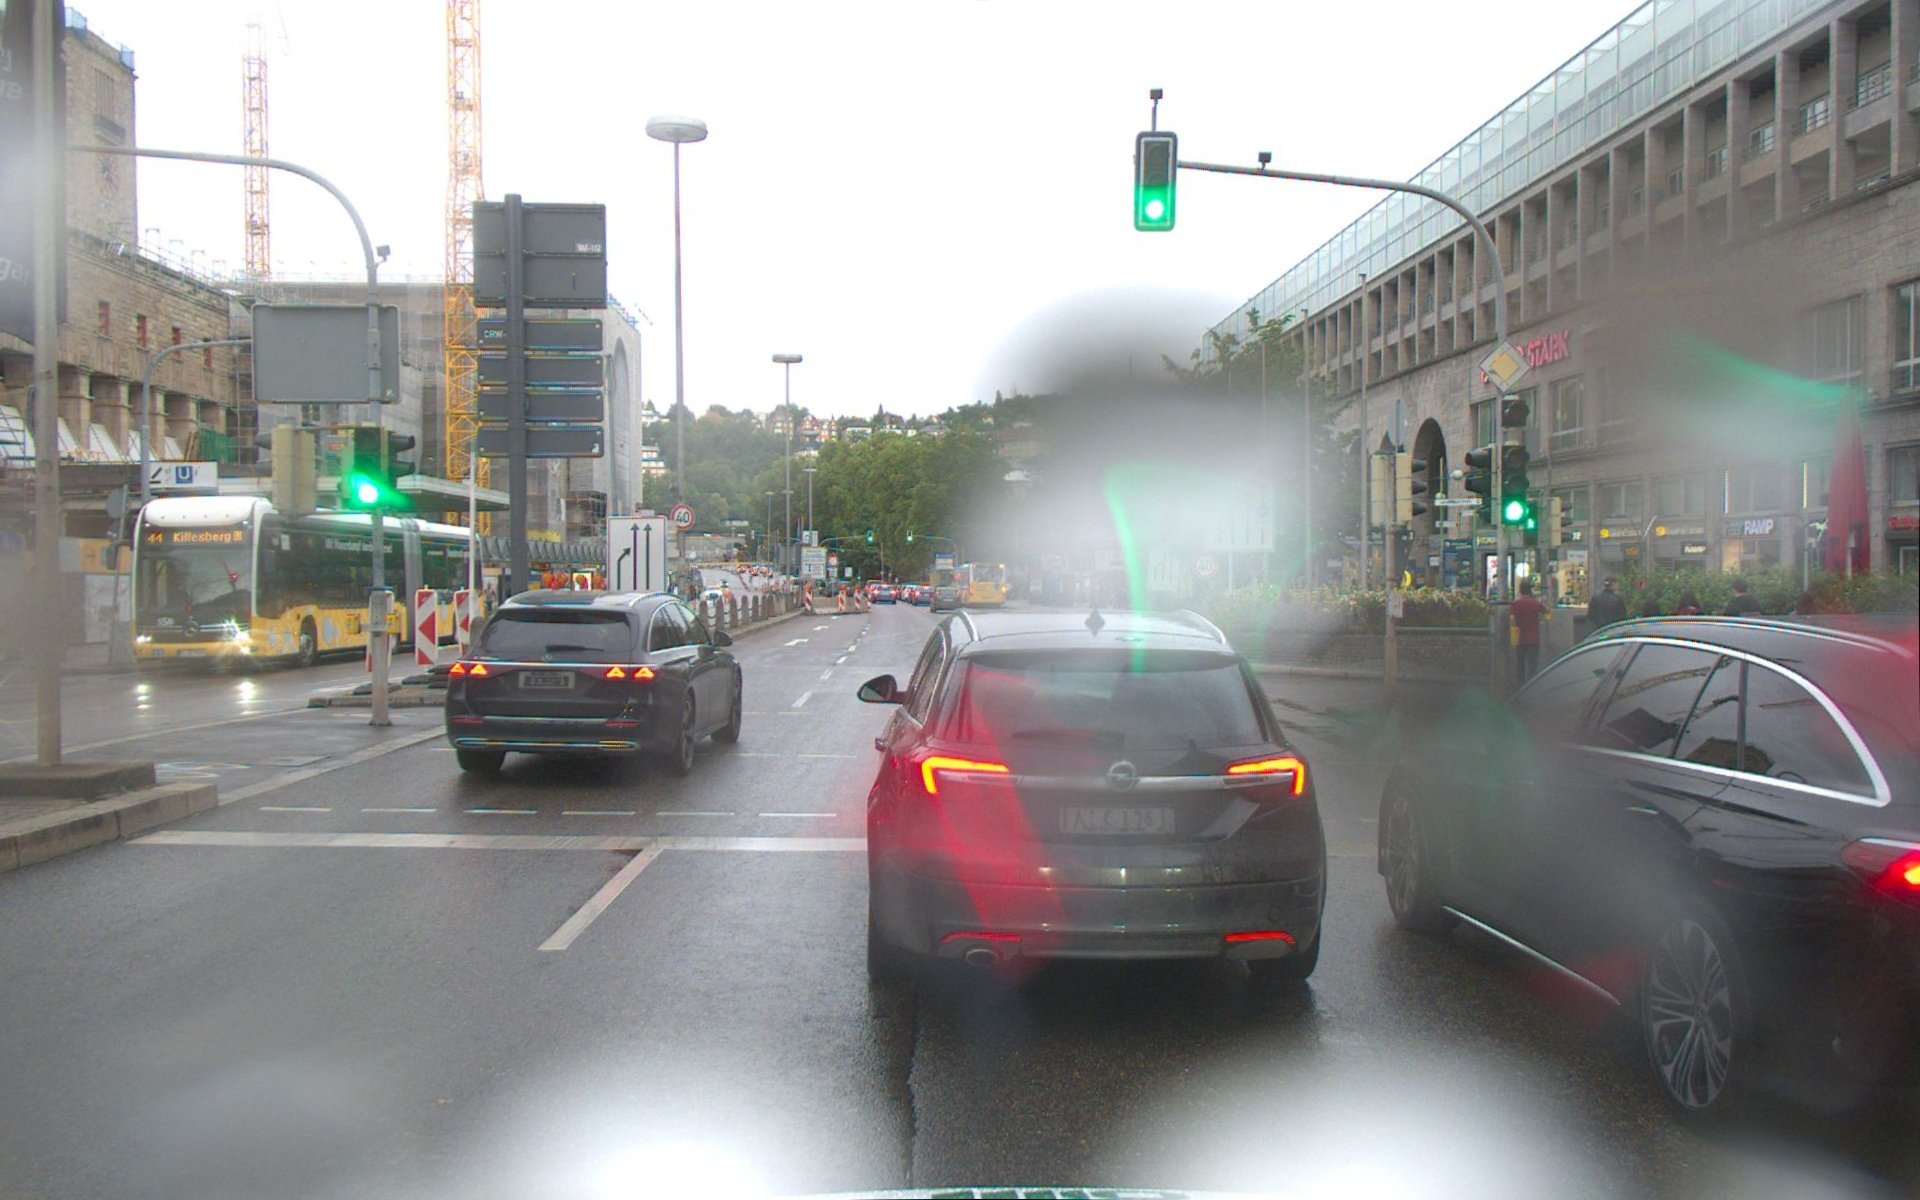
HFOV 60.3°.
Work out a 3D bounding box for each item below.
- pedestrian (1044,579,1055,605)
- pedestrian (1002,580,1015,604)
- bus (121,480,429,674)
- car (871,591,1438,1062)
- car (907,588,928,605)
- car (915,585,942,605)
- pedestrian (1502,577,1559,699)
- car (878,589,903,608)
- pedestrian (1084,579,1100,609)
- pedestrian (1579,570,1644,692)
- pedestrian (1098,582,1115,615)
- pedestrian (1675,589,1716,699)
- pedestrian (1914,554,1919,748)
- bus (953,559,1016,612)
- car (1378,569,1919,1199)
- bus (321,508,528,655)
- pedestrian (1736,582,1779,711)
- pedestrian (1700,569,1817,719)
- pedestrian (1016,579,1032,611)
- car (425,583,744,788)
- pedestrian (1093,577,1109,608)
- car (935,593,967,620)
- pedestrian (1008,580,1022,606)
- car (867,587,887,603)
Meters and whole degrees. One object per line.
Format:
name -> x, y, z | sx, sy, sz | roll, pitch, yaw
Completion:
pedestrian -> 5.902, -0.508, 108.731 | 0.644, 1.720, 0.609 | 1, -1, 0
pedestrian -> 4.494, -0.713, 153.656 | 1.174, 2.186, 1.228 | 1, -1, 0
bus -> -14.712, -0.406, 36.679 | 2.614, 3.665, 10.237 | 1, 0, -1
car -> 0.598, 0.754, 7.409 | 1.837, 1.512, 3.999 | 1, 0, -1
car -> -3.704, -0.336, 144.271 | 1.808, 1.422, 3.563 | 1, 0, -1
car -> -2.333, -0.358, 121.638 | 1.718, 1.422, 4.645 | 1, 0, -3
pedestrian -> 8.491, 0.558, 24.615 | 0.560, 1.783, 0.676 | 0, -1, 42
car -> -5.366, -0.075, 127.509 | 1.808, 1.422, 3.563 | 1, 0, -1
pedestrian -> 7.562, -0.348, 94.789 | 0.748, 1.720, 0.824 | 1, -1, -5
pedestrian -> 9.531, 0.448, 24.200 | 0.740, 1.747, 0.466 | 1, -1, -5
pedestrian -> 7.713, -0.102, 87.270 | 0.748, 1.720, 0.824 | 1, -1, -5
pedestrian -> 10.499, 0.625, 23.607 | 0.456, 1.544, 0.449 | 1, -1, 33
pedestrian -> 9.262, 0.475, 15.198 | 0.766, 1.787, 0.501 | 0, -1, 43
bus -> 1.641, -0.972, 120.098 | 4.089, 3.529, 14.650 | 1, 0, -1
car -> 2.991, 0.723, 5.925 | 1.757, 1.528, 4.627 | 1, 0, -1
bus -> -14.874, -0.439, 46.958 | 2.614, 3.665, 10.209 | 1, 0, -1
pedestrian -> 11.265, 0.651, 23.360 | 0.472, 1.782, 0.665 | -2, 0, 27
pedestrian -> 9.865, 0.537, 20.462 | 1.074, 1.782, 0.653 | -2, 0, -4
pedestrian -> 5.028, -0.415, 129.102 | 1.174, 2.478, 1.228 | 1, -1, 0
car -> -3.107, 0.654, 14.673 | 1.817, 1.495, 4.586 | 1, 0, -1
pedestrian -> 7.962, -0.405, 93.575 | 0.748, 1.720, 0.824 | 1, -1, -5
car -> -0.531, 0.373, 94.154 | 1.808, 1.422, 3.666 | 1, 0, -1
pedestrian -> 4.745, -0.628, 142.771 | 1.174, 2.186, 1.228 | 1, -1, 0
car -> -7.747, -0.449, 154.998 | 1.723, 1.422, 3.563 | 1, 0, -1
